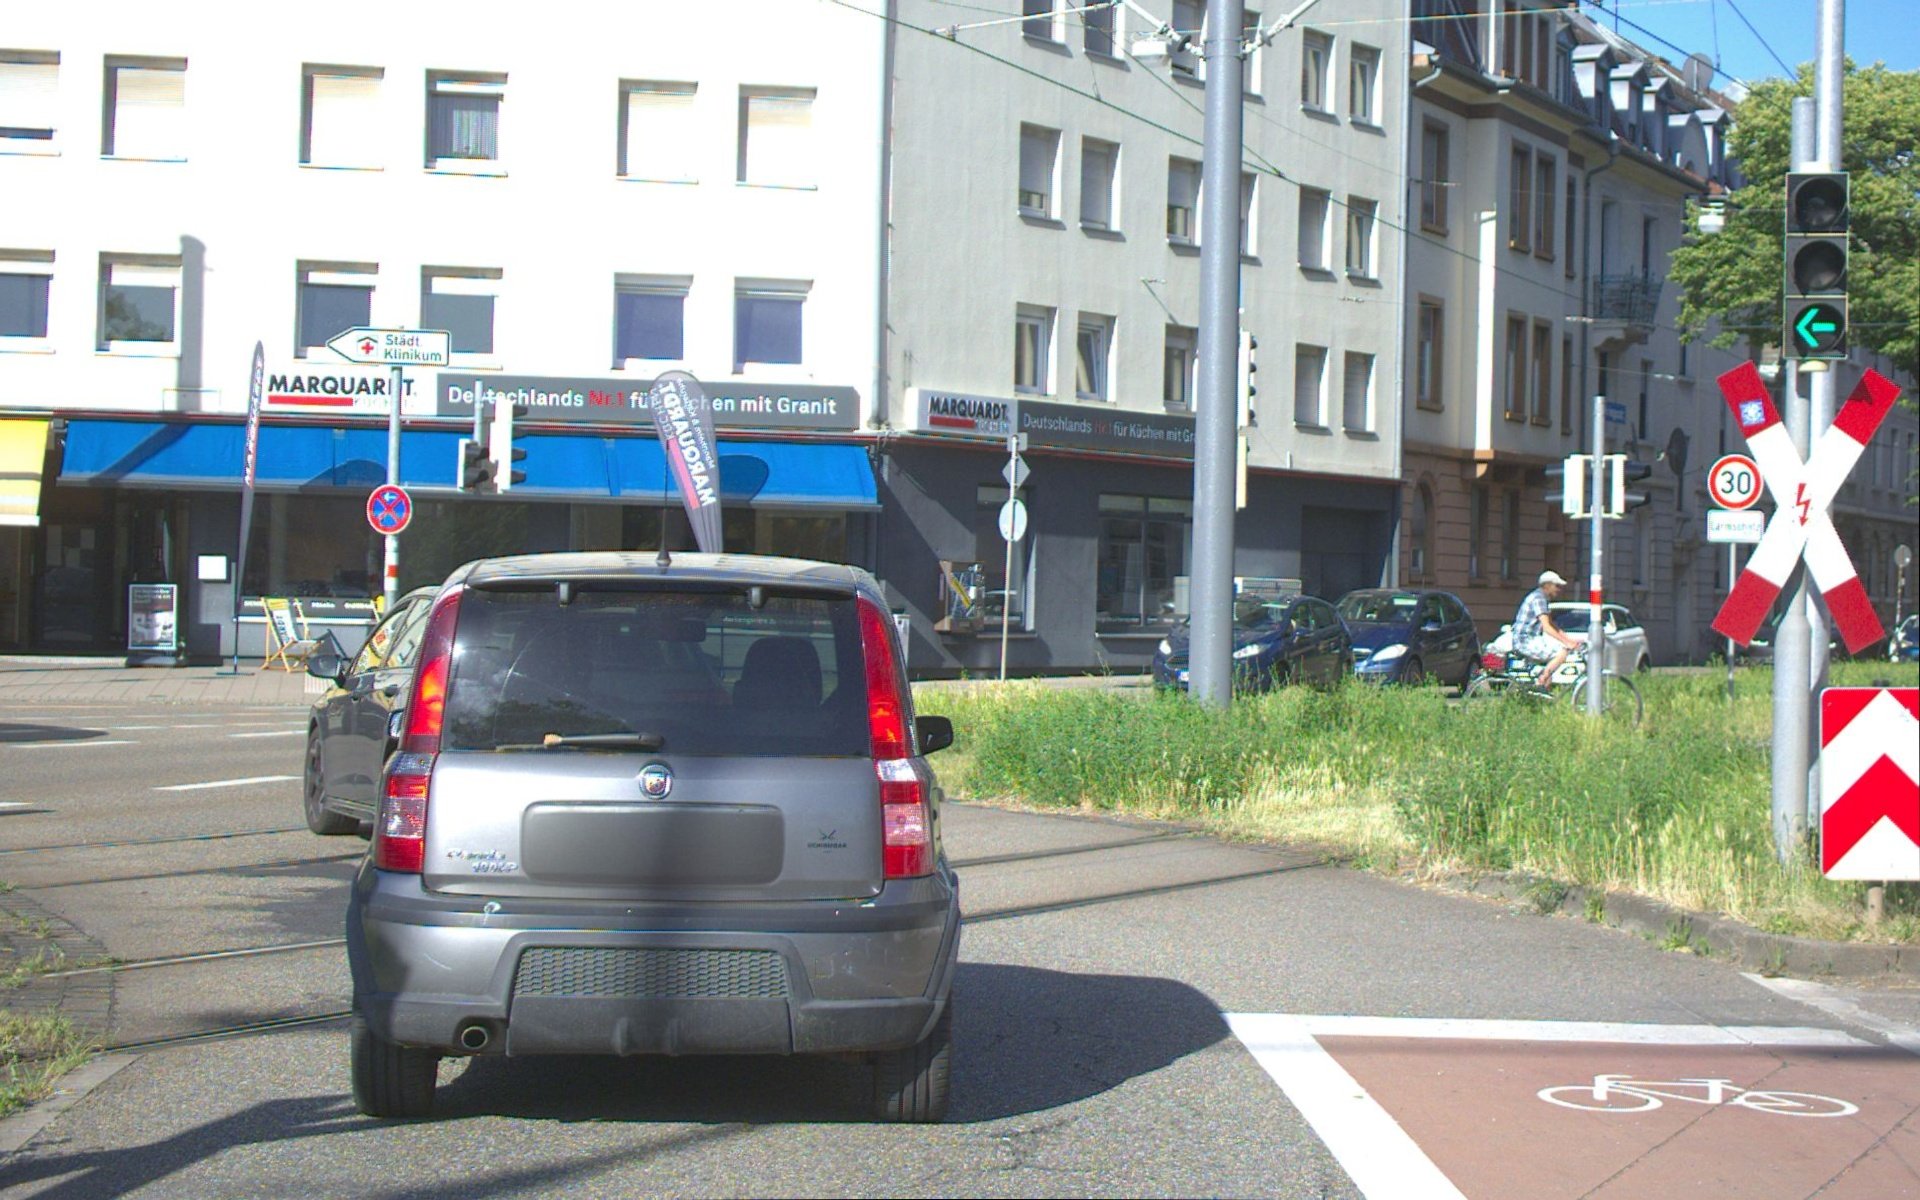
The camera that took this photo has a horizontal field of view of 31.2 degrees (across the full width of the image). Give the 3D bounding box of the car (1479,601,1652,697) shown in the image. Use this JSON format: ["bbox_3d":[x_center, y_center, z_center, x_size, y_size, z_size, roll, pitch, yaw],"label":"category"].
[{"bbox_3d":[9.969,0.793,56.452,1.793,1.478,3.526,2,0,27],"label":"car"}]

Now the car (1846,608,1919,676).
[{"bbox_3d":[22.140,0.978,79.978,1.997,1.482,3.993,2,0,28],"label":"car"}]

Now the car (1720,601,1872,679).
[{"bbox_3d":[16.900,0.801,69.385,1.997,1.468,3.993,2,0,28],"label":"car"}]

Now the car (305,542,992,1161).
[{"bbox_3d":[-0.947,0.621,10.144,1.659,1.505,3.252,2,0,-6],"label":"car"}]

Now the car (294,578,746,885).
[{"bbox_3d":[-2.434,0.630,18.261,1.620,1.424,3.689,1,0,-19],"label":"car"}]

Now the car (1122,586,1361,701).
[{"bbox_3d":[3.723,0.555,44.901,1.793,1.391,3.719,2,0,27],"label":"car"}]

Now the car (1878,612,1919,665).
[{"bbox_3d":[26.259,1.051,93.072,1.996,1.390,3.994,2,0,26],"label":"car"}]

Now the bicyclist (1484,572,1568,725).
[{"bbox_3d":[5.876,0.494,35.699,0.821,1.554,0.562,1,0,9],"label":"bicyclist"}]

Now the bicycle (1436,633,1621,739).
[{"bbox_3d":[5.899,0.884,35.693,1.852,1.029,0.589,2,0,10],"label":"bicycle"}]

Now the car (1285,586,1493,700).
[{"bbox_3d":[6.300,0.618,50.158,1.793,1.560,3.760,2,0,27],"label":"car"}]
